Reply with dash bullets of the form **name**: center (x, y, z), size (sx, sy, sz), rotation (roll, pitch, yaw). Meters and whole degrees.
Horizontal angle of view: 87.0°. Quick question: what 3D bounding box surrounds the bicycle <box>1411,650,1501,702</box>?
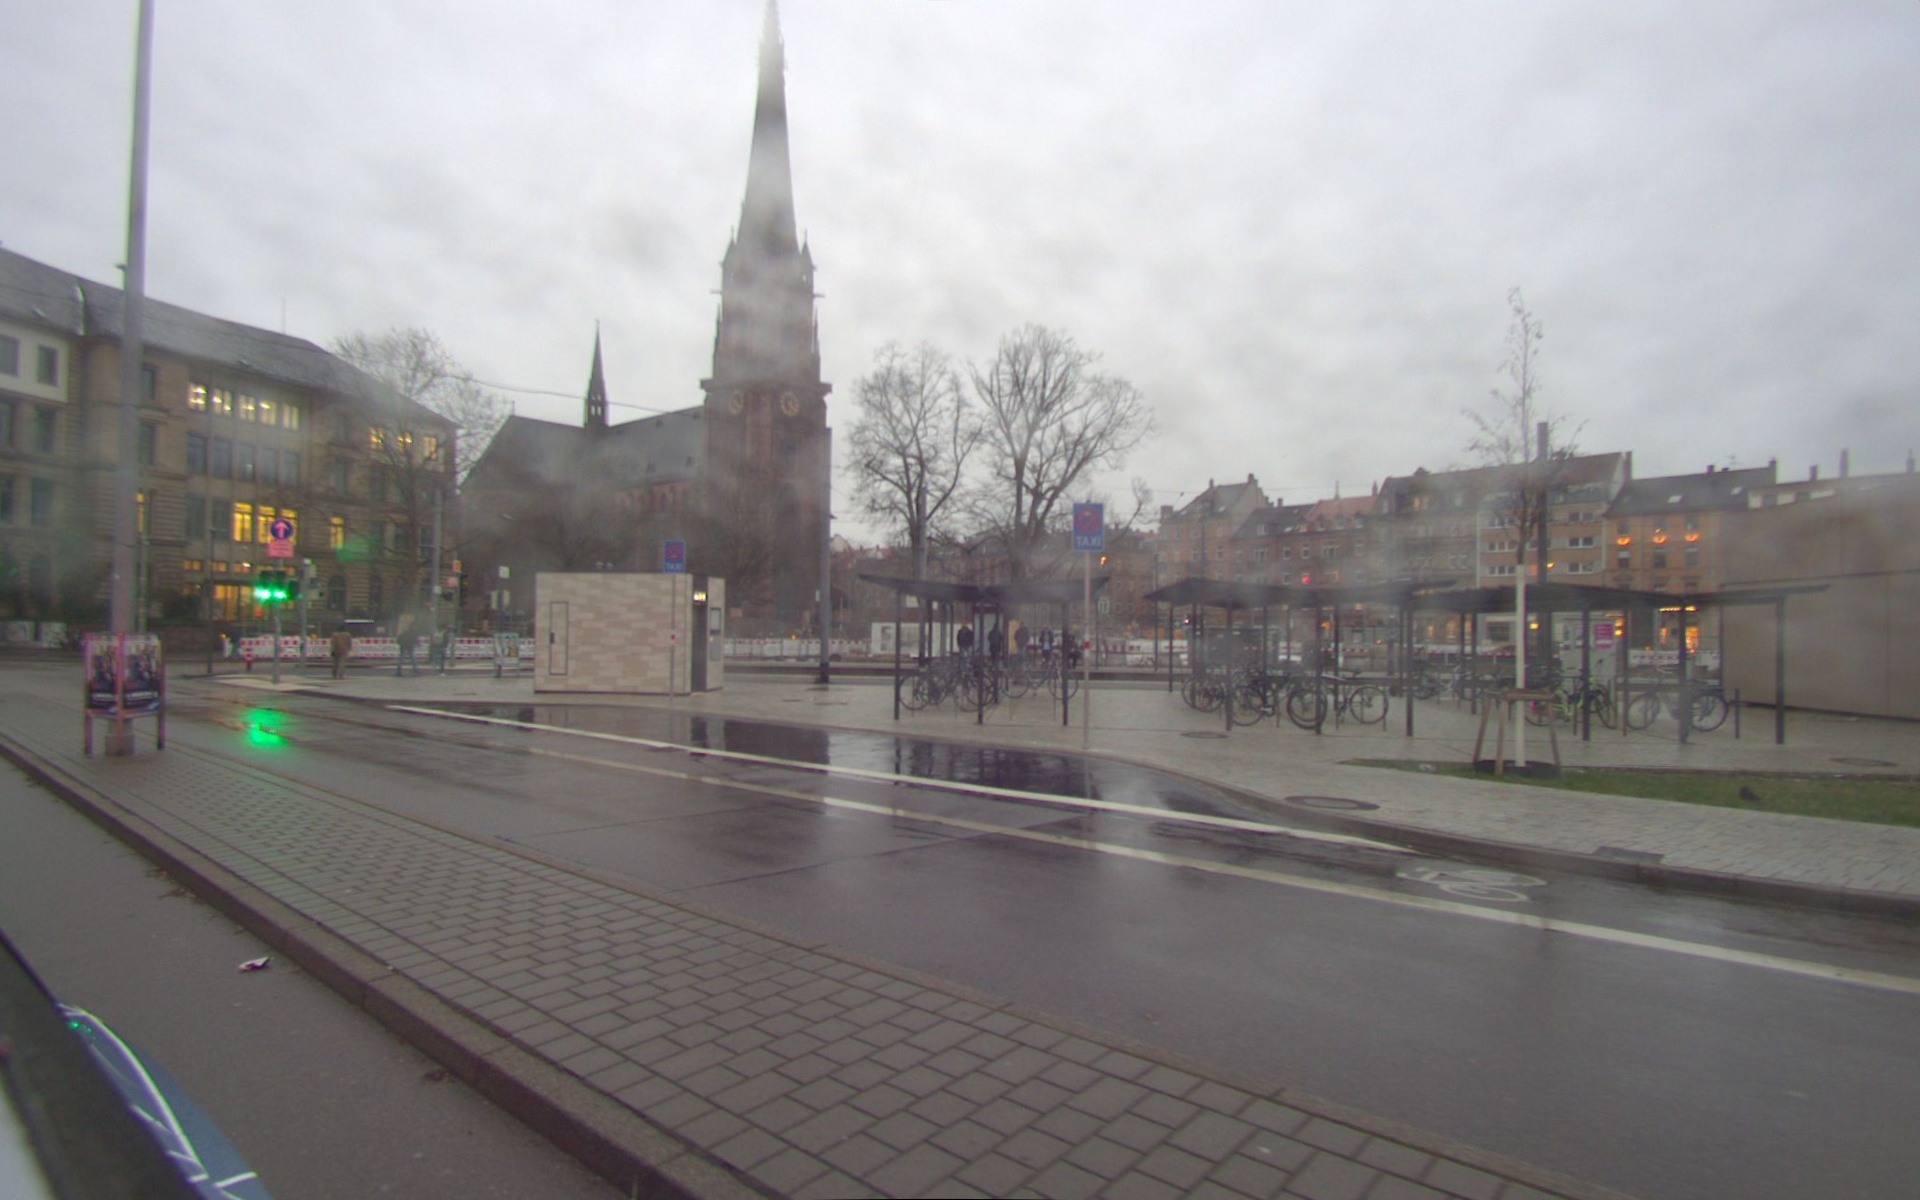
- **bicycle**: center (12.083, 1.835, 24.711), size (1.879, 1.174, 0.548), rotation (1, 0, 12)

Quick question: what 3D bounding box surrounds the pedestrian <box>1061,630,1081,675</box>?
- **pedestrian**: center (4.164, 1.958, 38.056), size (0.709, 1.630, 0.713), rotation (1, -1, 7)

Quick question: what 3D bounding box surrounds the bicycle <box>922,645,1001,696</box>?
- **bicycle**: center (0.042, 1.718, 24.906), size (1.879, 1.174, 0.548), rotation (1, 0, 12)

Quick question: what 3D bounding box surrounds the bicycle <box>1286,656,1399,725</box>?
- **bicycle**: center (7.063, 1.663, 18.760), size (1.879, 1.174, 0.548), rotation (1, 0, 12)

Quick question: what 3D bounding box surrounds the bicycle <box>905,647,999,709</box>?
- **bicycle**: center (-0.160, 1.602, 20.980), size (1.879, 1.174, 0.548), rotation (1, 0, 12)

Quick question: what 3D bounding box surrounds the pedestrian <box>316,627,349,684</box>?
- **pedestrian**: center (-18.912, 1.661, 30.499), size (0.663, 1.687, 0.732), rotation (1, 0, -17)

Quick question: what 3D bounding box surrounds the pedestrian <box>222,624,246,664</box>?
- **pedestrian**: center (-36.871, 2.224, 51.417), size (0.731, 2.029, 0.646), rotation (1, 0, -4)

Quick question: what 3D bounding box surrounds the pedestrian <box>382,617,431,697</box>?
- **pedestrian**: center (-17.082, 1.726, 31.233), size (1.062, 2.388, 0.984), rotation (1, 0, 37)

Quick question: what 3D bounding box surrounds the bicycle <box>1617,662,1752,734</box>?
- **bicycle**: center (12.839, 1.722, 17.975), size (1.878, 1.174, 0.549), rotation (1, 0, 11)

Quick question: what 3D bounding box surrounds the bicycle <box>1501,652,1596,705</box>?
- **bicycle**: center (14.114, 1.882, 24.317), size (1.879, 1.174, 0.548), rotation (1, 0, 12)

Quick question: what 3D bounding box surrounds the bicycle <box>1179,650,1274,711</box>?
- **bicycle**: center (5.585, 1.672, 21.274), size (1.879, 1.174, 0.548), rotation (1, 0, 12)

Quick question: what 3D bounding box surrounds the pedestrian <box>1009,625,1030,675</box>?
- **pedestrian**: center (2.231, 1.868, 38.018), size (0.709, 1.820, 0.713), rotation (1, -1, 7)

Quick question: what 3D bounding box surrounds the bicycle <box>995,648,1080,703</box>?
- **bicycle**: center (1.783, 1.728, 23.257), size (1.879, 1.174, 0.548), rotation (1, 0, 12)

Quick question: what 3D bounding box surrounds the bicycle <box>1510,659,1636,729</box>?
- **bicycle**: center (11.270, 1.714, 18.659), size (1.879, 1.174, 0.548), rotation (1, 0, 12)

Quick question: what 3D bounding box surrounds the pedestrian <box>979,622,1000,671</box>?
- **pedestrian**: center (1.113, 1.755, 38.263), size (0.709, 1.820, 0.713), rotation (1, -1, 7)

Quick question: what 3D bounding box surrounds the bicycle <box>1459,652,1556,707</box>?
- **bicycle**: center (12.614, 1.822, 23.353), size (1.879, 1.174, 0.548), rotation (1, 0, 12)

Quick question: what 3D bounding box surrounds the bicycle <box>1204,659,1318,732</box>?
- **bicycle**: center (5.307, 1.670, 17.921), size (1.879, 1.174, 0.548), rotation (1, 0, 12)

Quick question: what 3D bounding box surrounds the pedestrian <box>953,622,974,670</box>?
- **pedestrian**: center (0.123, 1.742, 38.391), size (0.709, 1.770, 0.713), rotation (1, -1, 7)

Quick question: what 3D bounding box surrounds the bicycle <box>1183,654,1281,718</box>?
- **bicycle**: center (5.490, 1.727, 20.499), size (1.879, 1.174, 0.548), rotation (1, 0, 12)

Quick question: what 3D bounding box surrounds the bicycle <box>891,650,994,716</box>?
- **bicycle**: center (-0.341, 1.606, 19.771), size (1.922, 1.174, 0.548), rotation (1, 0, 12)

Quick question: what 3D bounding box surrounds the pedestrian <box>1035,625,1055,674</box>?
- **pedestrian**: center (3.204, 1.849, 38.031), size (0.709, 1.820, 0.713), rotation (1, -1, 7)

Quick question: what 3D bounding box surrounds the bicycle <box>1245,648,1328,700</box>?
- **bicycle**: center (8.010, 1.800, 24.881), size (1.879, 1.174, 0.548), rotation (1, 0, 12)

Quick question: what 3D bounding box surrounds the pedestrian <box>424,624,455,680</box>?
- **pedestrian**: center (-17.616, 1.743, 34.239), size (0.825, 1.827, 0.596), rotation (-1, 1, 42)

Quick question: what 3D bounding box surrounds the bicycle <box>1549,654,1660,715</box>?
- **bicycle**: center (13.606, 1.777, 21.412), size (1.879, 1.174, 0.548), rotation (1, 0, 12)
